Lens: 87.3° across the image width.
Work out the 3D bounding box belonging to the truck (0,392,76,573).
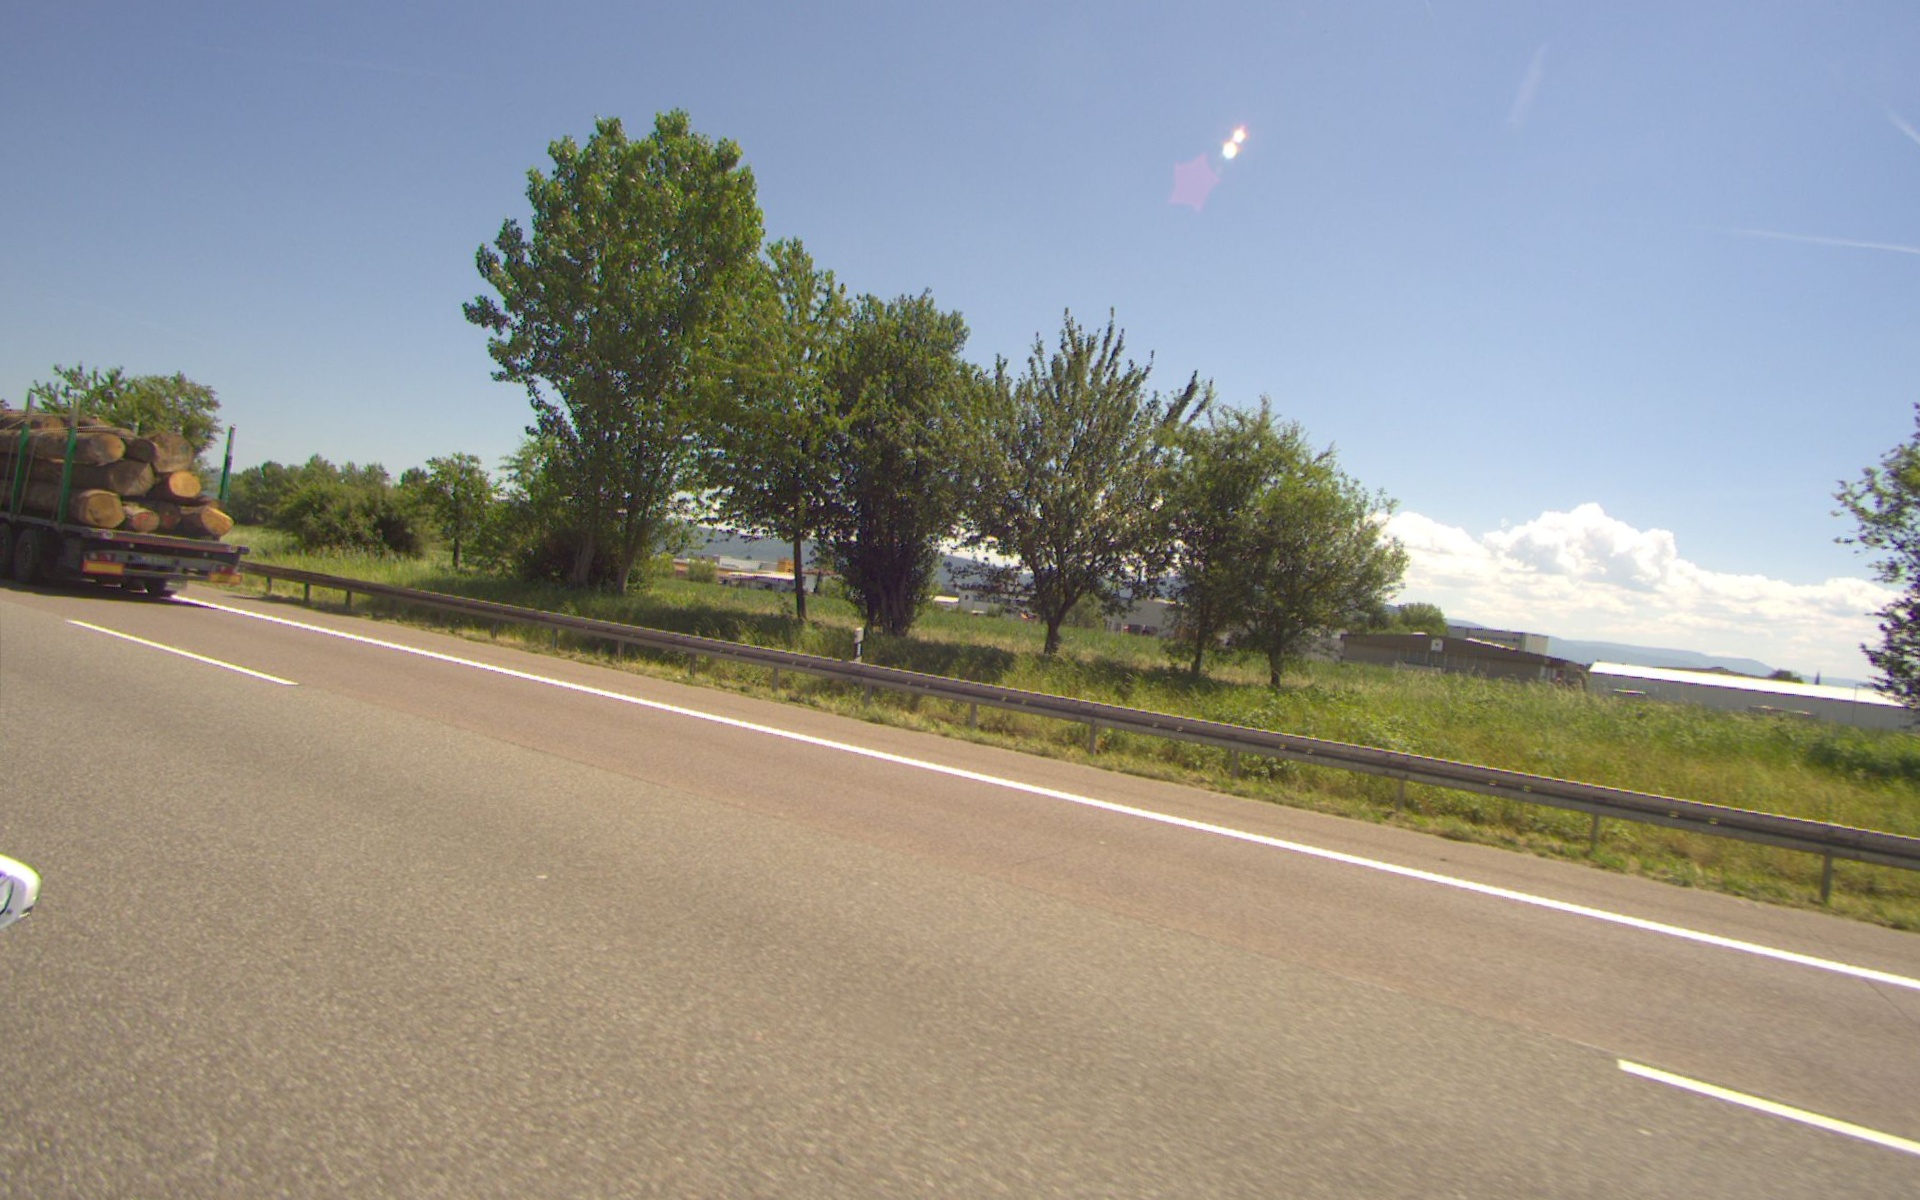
[{"bbox_3d":[-25.148,-3.109,24.965,6.526,4.041,2.675,7,-1,32],"label":"truck"}]

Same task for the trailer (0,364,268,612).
[{"bbox_3d":[-19.900,-2.537,21.720,13.410,4.005,2.658,7,-1,32],"label":"trailer"}]
